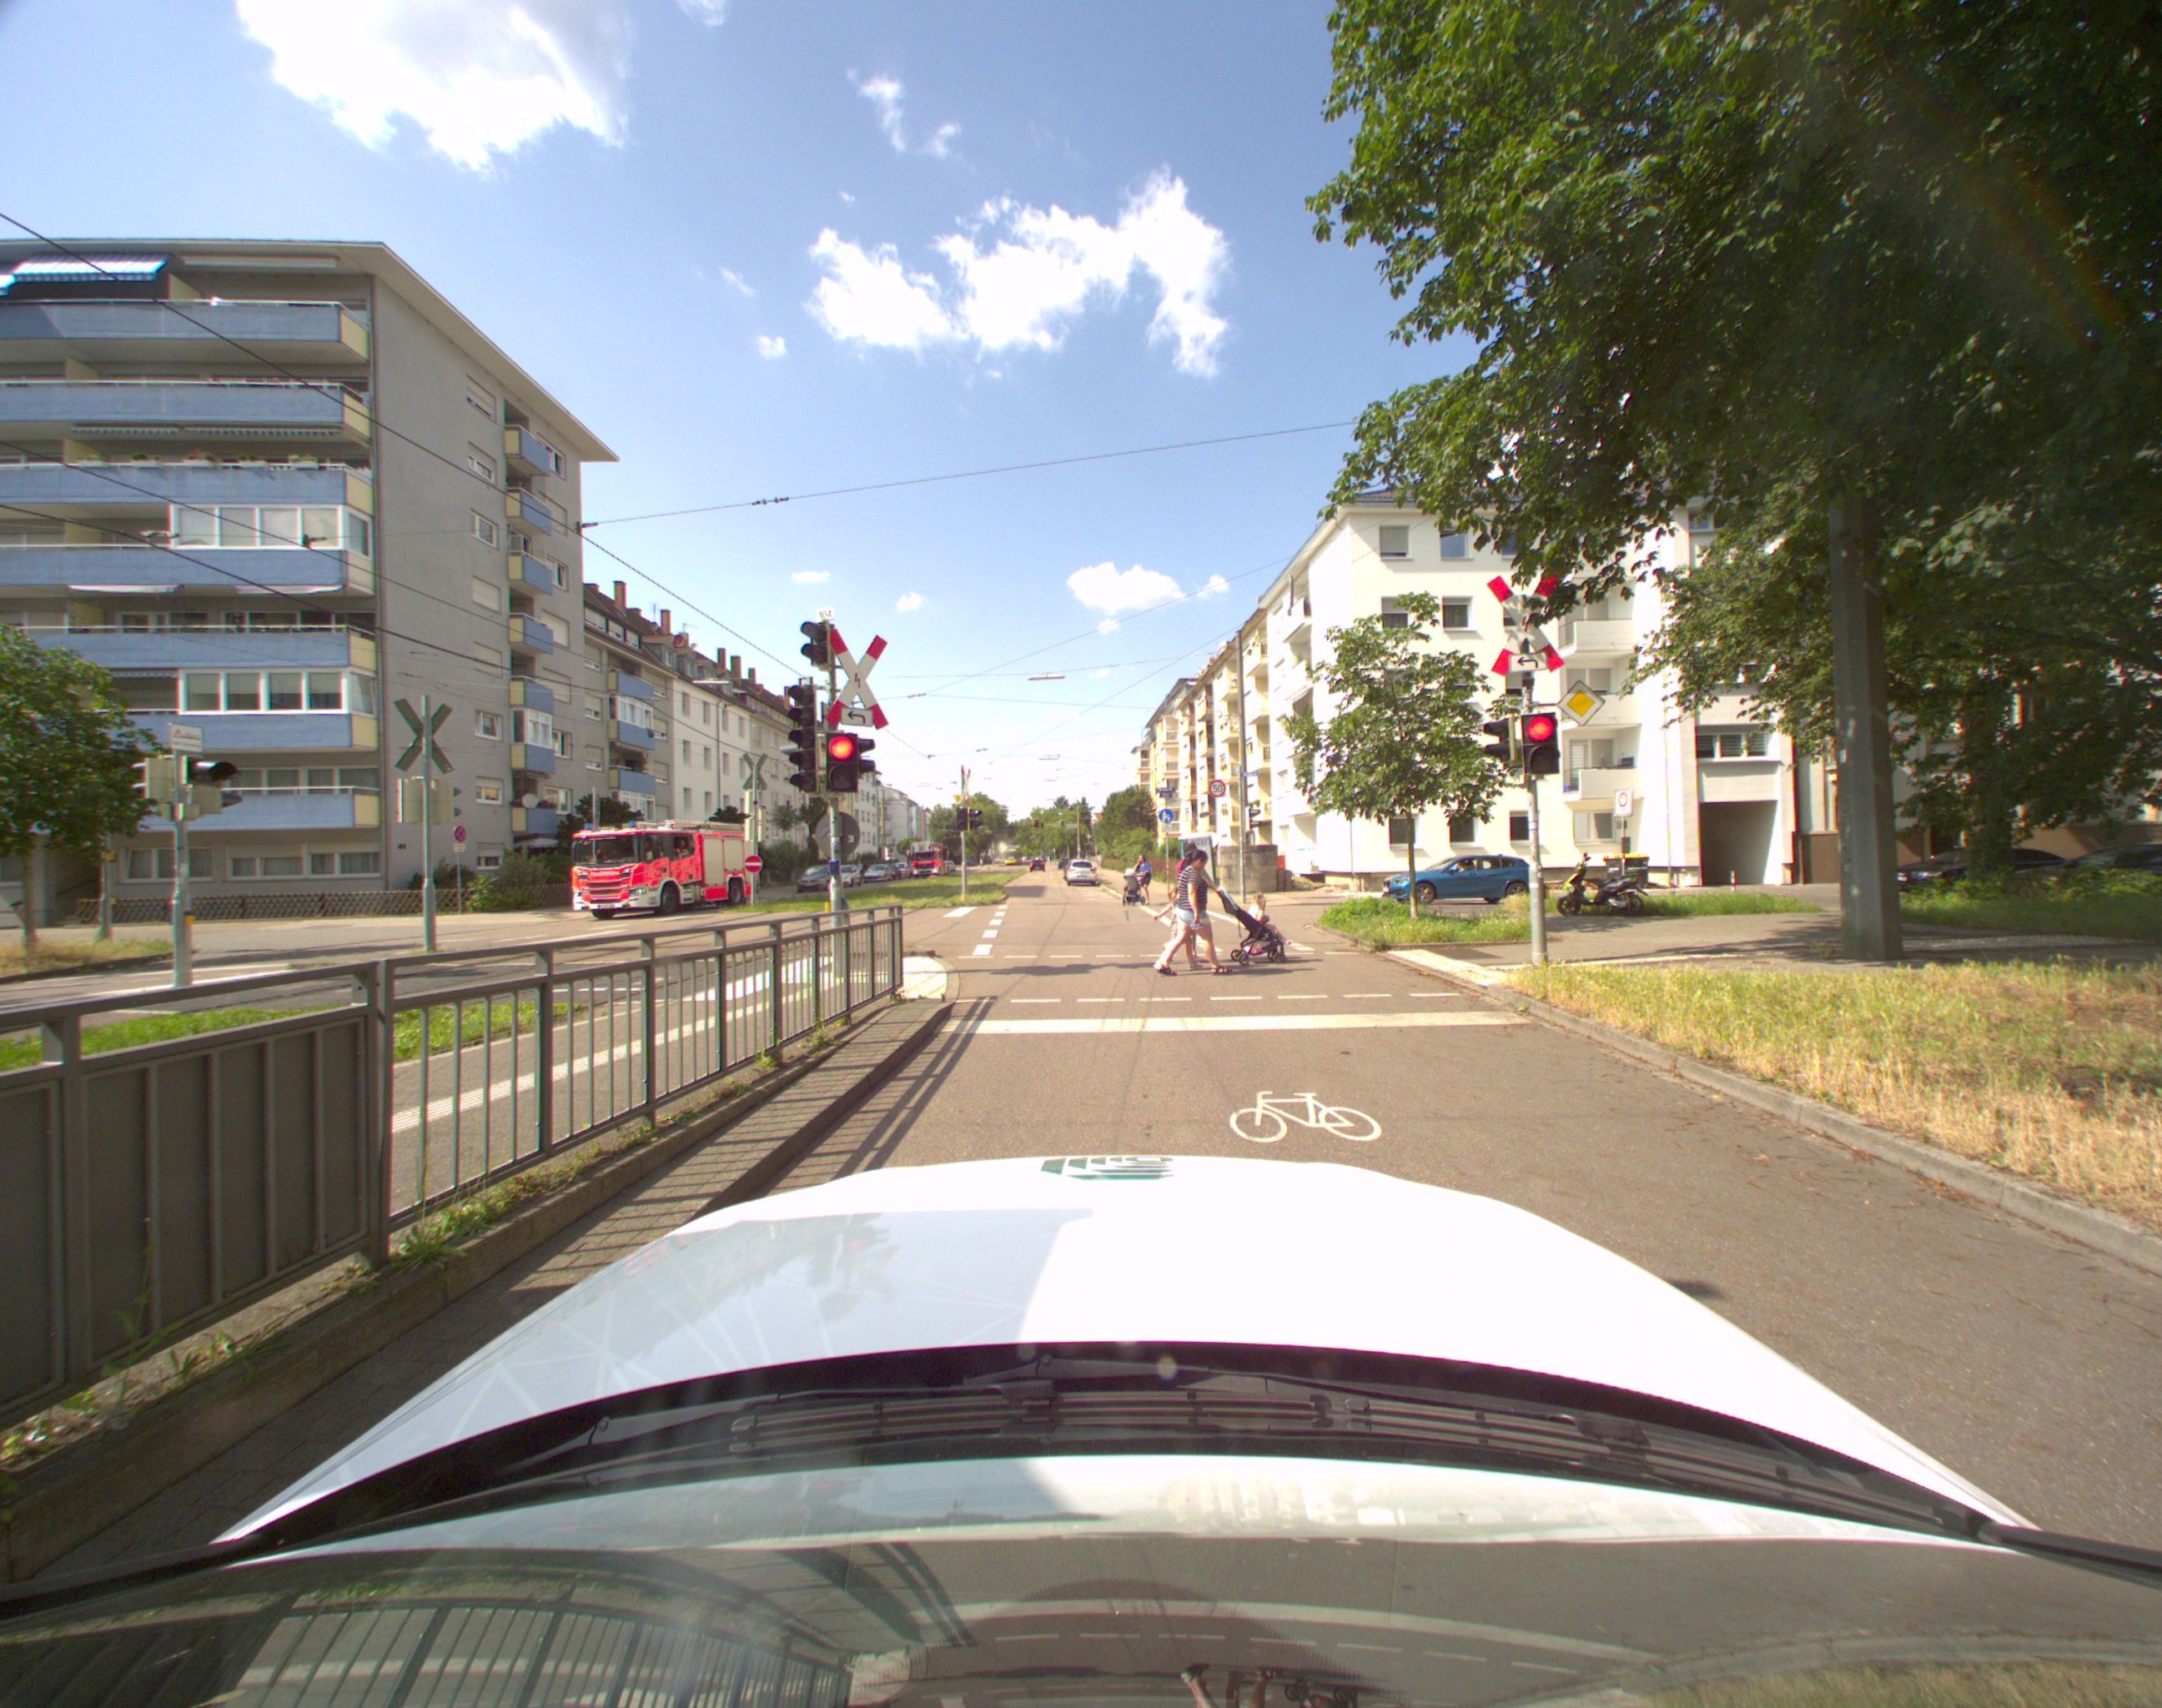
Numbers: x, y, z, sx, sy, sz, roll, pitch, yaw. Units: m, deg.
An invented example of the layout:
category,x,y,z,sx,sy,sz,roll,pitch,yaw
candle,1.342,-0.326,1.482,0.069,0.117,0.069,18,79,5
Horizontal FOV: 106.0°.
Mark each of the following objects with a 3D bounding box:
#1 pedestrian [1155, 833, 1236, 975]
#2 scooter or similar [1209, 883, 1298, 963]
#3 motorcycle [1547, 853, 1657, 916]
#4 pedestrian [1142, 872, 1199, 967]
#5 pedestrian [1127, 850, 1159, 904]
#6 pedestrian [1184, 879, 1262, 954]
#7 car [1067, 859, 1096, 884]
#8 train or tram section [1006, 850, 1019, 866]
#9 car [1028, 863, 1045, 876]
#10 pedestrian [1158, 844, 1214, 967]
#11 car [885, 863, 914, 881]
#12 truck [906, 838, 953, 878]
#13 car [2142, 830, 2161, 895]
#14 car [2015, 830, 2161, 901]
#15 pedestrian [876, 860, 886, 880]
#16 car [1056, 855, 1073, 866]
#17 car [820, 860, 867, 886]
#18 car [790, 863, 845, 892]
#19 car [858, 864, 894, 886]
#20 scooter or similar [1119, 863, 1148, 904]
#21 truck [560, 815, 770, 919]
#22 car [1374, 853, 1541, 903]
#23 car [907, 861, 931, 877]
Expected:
category,x,y,z,sx,sy,sz,roll,pitch,yaw
pedestrian,1.397,0.599,10.074,0.842,1.667,0.799,-2,-1,1
scooter or similar,2.349,0.931,11.188,1.096,1.056,0.651,0,-1,1
motorcycle,11.040,0.646,17.332,0.574,1.215,1.829,-6,1,-30
pedestrian,1.170,0.848,10.773,0.634,1.180,0.799,-2,-1,1
pedestrian,2.117,0.762,27.728,0.694,1.789,1.036,-1,1,26
pedestrian,4.253,1.821,25.014,1.984,2.014,4.004,0,-1,4
car,0.021,1.025,48.415,1.617,1.465,3.509,0,-1,-1
train or tram section,-13.554,0.800,161.660,2.254,3.069,8.122,-2,0,-4
car,-5.063,1.790,93.395,1.739,1.507,3.997,0,-1,-1
pedestrian,1.437,0.693,11.225,0.702,1.648,0.637,1,-1,2
car,-16.882,1.656,75.901,1.988,1.711,3.997,0,-1,-2
truck,-13.980,0.397,75.844,2.659,3.471,10.162,0,-1,-1
car,26.029,0.176,17.459,1.794,1.539,4.013,-2,0,11
car,23.222,0.212,17.504,1.733,1.459,4.001,-2,0,1
pedestrian,-18.868,1.517,76.683,0.703,1.794,0.864,-2,0,-1
car,-2.156,0.856,105.993,1.735,1.507,4.005,0,-1,5
car,-16.001,1.273,55.092,1.987,1.711,3.999,0,-1,0
car,-15.776,1.387,48.984,1.987,1.645,3.999,0,-1,0
car,-16.325,1.664,65.017,1.989,1.711,3.996,0,-1,-3
scooter or similar,1.740,0.973,26.955,0.656,1.304,0.873,0,0,26
truck,-14.315,0.439,29.053,2.584,3.186,8.392,0,-1,5
car,11.029,0.692,24.068,4.151,1.413,1.781,0,-1,1
car,-17.044,1.571,85.793,1.905,1.711,3.996,0,-1,-3
